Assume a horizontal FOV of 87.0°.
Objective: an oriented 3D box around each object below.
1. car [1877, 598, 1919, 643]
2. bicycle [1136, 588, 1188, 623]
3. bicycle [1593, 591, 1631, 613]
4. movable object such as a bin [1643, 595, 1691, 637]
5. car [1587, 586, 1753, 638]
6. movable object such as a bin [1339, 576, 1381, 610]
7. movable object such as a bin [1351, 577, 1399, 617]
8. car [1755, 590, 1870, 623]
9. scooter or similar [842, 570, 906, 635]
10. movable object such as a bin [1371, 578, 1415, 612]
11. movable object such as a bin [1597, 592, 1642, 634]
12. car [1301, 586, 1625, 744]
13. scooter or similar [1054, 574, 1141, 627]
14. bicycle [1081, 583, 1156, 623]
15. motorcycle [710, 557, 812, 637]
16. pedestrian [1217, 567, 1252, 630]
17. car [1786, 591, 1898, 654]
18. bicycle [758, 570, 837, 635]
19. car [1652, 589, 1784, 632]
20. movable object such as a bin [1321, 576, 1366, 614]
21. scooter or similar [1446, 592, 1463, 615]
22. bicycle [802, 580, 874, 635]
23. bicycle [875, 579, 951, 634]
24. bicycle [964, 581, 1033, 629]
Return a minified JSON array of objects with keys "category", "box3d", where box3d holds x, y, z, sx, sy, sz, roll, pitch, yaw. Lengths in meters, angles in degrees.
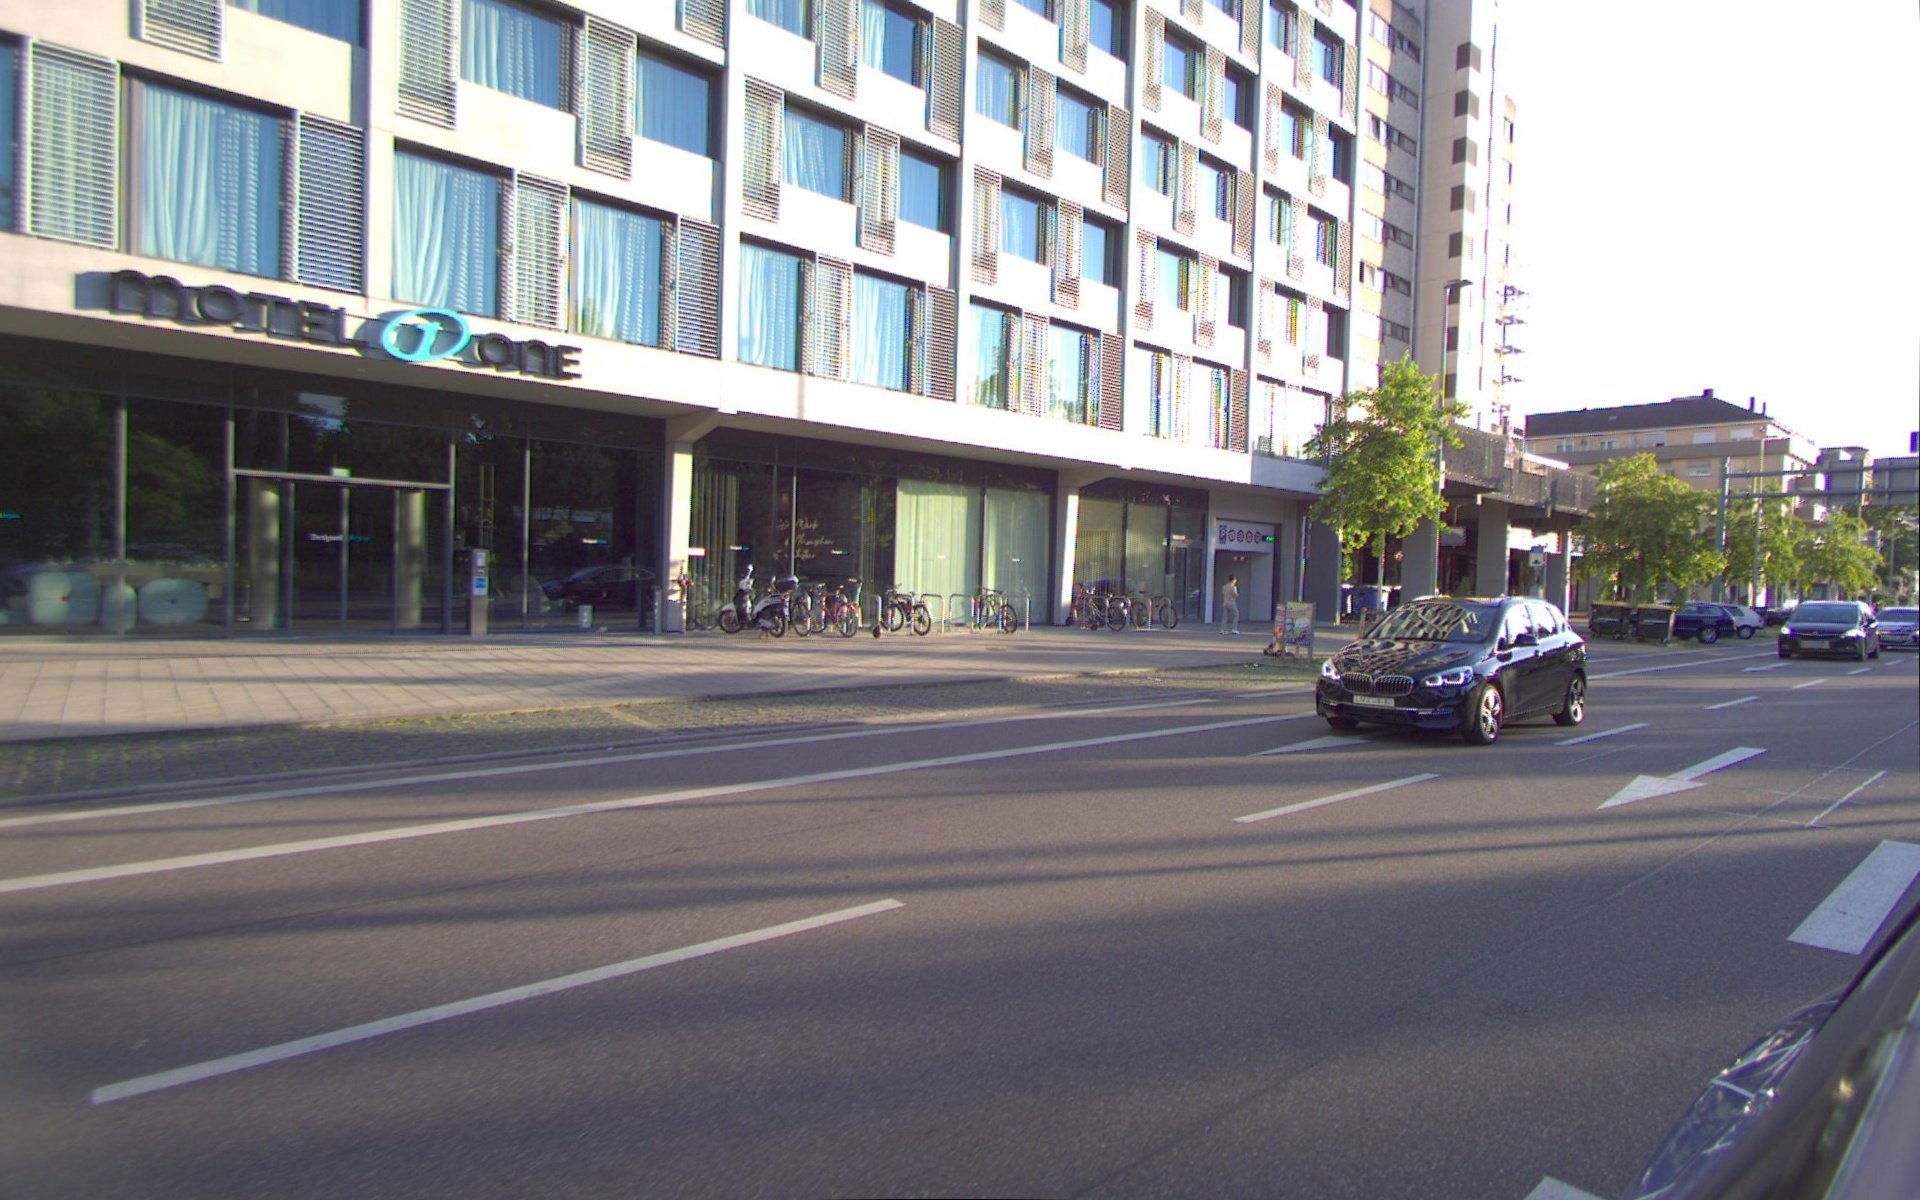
[{"category":"car","box3d":[32.972,0.690,34.720,4.228,1.482,1.831,1,0,-42]},{"category":"bicycle","box3d":[5.647,0.148,28.346,0.449,0.902,1.424,1,2,-41]},{"category":"bicycle","box3d":[34.450,0.094,53.476,0.426,1.061,1.575,1,4,-41]},{"category":"movable object such as a bin","box3d":[23.846,0.518,34.143,1.085,1.317,1.340,6,4,43]},{"category":"car","box3d":[26.636,0.411,38.139,4.595,1.526,1.935,4,3,10]},{"category":"movable object such as a bin","box3d":[16.467,-0.280,41.648,1.105,1.329,1.183,1,2,-42]},{"category":"movable object such as a bin","box3d":[15.084,-0.119,36.760,1.261,1.346,1.107,1,3,-41]},{"category":"car","box3d":[47.515,0.326,56.510,4.531,1.471,1.810,4,2,9]},{"category":"scooter or similar","box3d":[-1.793,0.040,20.984,0.598,1.248,1.269,1,3,-44]},{"category":"movable object such as a bin","box3d":[17.385,-0.207,40.627,1.282,1.315,1.183,1,2,-42]},{"category":"movable object such as a bin","box3d":[22.897,0.444,35.118,1.015,1.363,1.142,6,4,44]},{"category":"car","box3d":[6.165,0.638,12.127,4.707,1.538,1.824,0,0,-41]},{"category":"scooter or similar","box3d":[3.530,0.001,26.151,0.610,1.197,2.378,1,3,-41]},{"category":"bicycle","box3d":[4.310,0.071,27.641,2.016,0.969,0.611,5,3,44]},{"category":"motorcycle","box3d":[-3.925,-0.079,19.848,2.106,1.403,0.663,5,2,36]},{"category":"pedestrian","box3d":[7.409,-0.042,27.293,0.632,1.638,0.577,1,3,-44]},{"category":"car","box3d":[24.661,0.576,28.261,4.291,1.619,1.826,1,0,-42]},{"category":"bicycle","box3d":[-3.292,0.033,20.413,1.604,1.168,0.604,5,3,38]},{"category":"car","box3d":[31.647,0.416,42.339,3.930,1.433,1.746,4,3,12]},{"category":"movable object such as a bin","box3d":[14.248,-0.174,37.595,1.181,1.346,1.076,1,2,-41]},{"category":"scooter or similar","box3d":[24.739,0.177,50.618,0.400,1.175,1.804,0,-1,39]},{"category":"bicycle","box3d":[-2.535,0.134,20.890,0.541,0.998,1.702,1,3,-43]},{"category":"bicycle","box3d":[-1.051,0.122,22.227,0.556,1.022,1.889,0,4,-42]},{"category":"bicycle","box3d":[0.898,0.110,23.944,0.541,0.998,1.702,1,4,-43]}]
